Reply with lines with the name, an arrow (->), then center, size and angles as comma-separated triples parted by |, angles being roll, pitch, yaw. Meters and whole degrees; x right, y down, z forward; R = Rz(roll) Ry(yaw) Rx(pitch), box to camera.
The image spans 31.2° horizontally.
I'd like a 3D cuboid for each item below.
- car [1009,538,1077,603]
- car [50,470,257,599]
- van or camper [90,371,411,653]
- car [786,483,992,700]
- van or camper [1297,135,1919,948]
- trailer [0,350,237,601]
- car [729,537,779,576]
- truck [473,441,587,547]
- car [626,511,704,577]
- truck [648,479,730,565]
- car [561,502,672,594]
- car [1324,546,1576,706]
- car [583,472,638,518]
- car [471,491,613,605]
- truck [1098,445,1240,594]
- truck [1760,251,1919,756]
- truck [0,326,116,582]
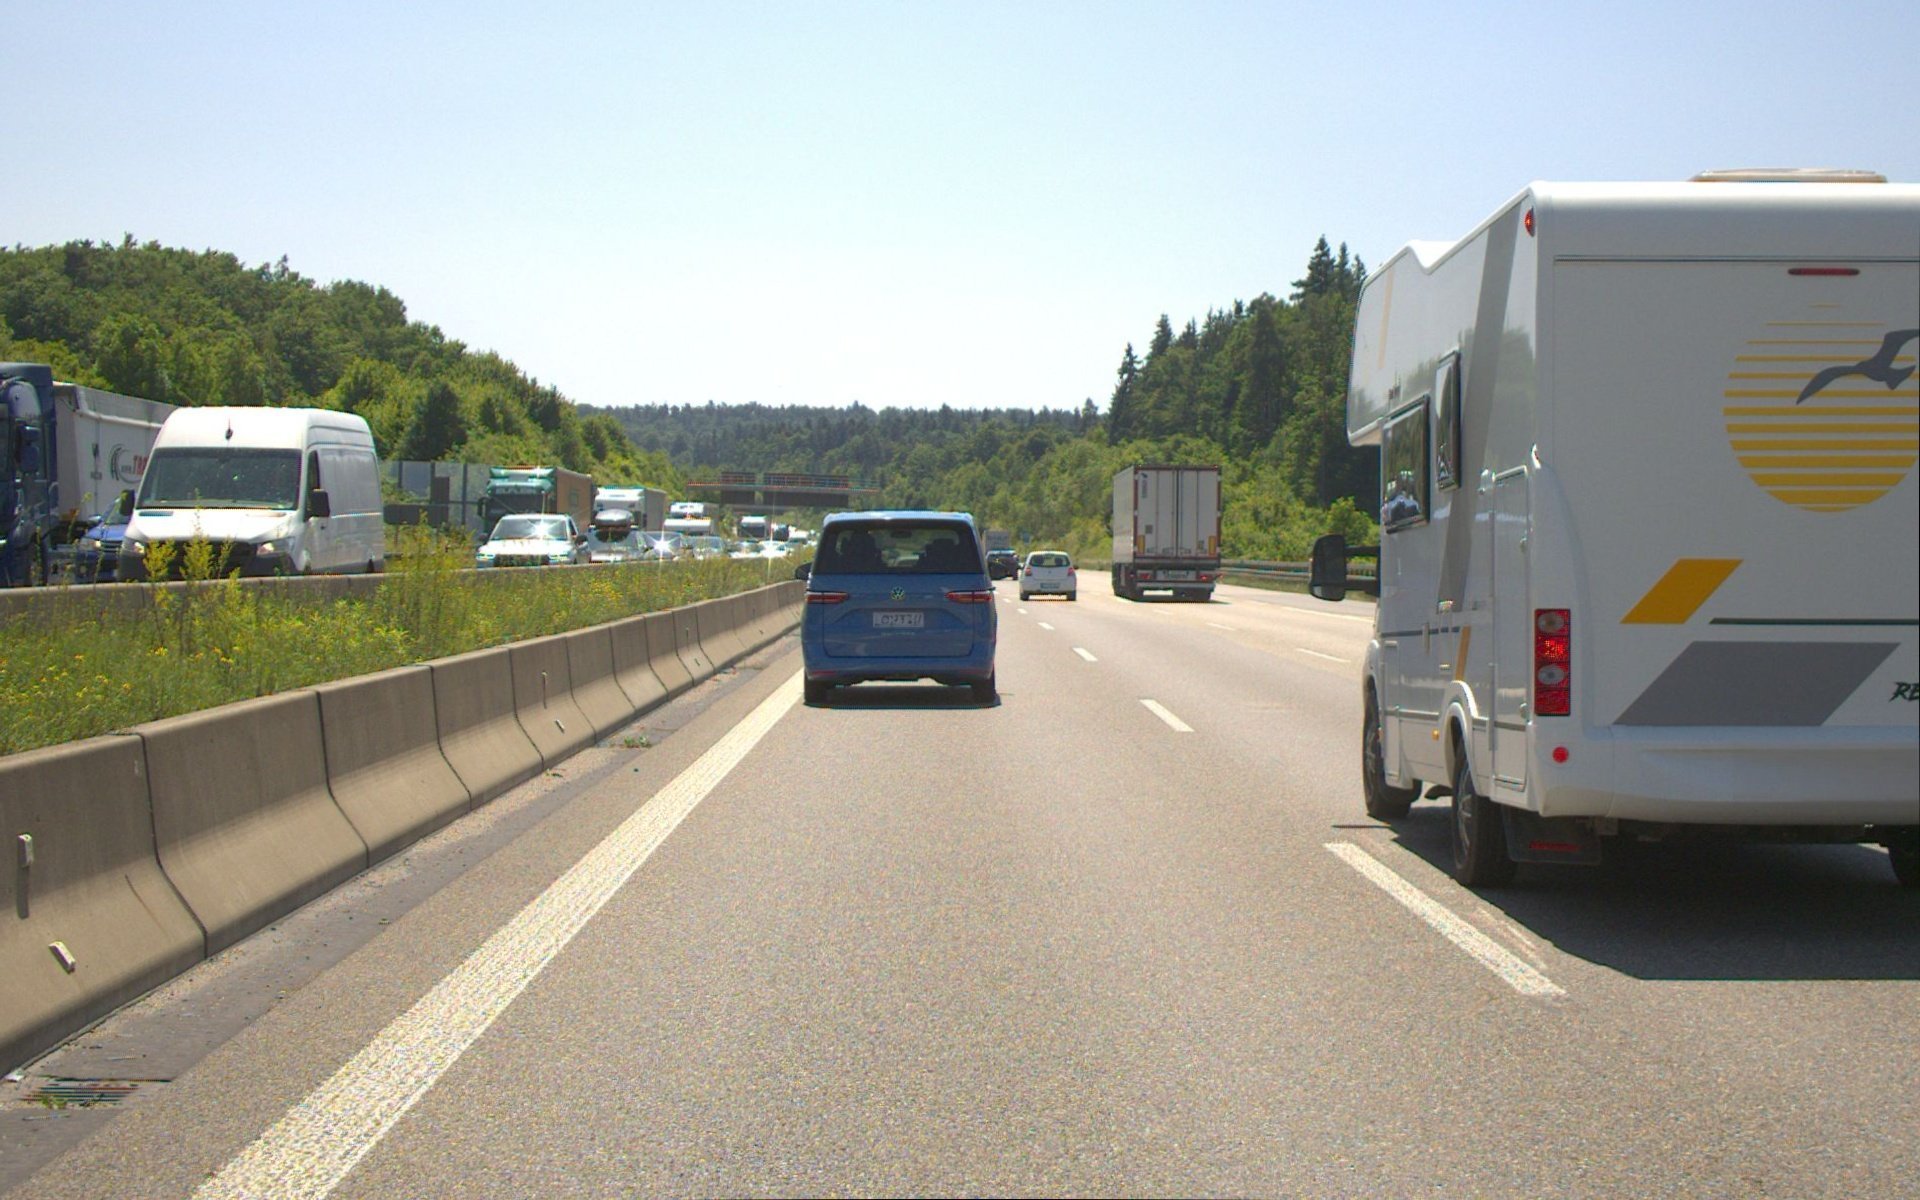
car -> 2.481, -0.907, 103.644 | 1.818, 1.788, 3.894 | 4, 1, -1
car -> -12.067, -0.975, 51.803 | 1.796, 1.827, 5.746 | 0, 1, 0
van or camper -> -8.135, -0.990, 40.276 | 1.993, 2.867, 7.642 | 4, 1, 0
car -> -0.682, -0.110, 34.603 | 1.909, 2.007, 4.000 | 1, 1, 0
van or camper -> 3.321, -0.275, 16.590 | 2.603, 3.068, 7.182 | 0, 1, -1
trailer -> -16.046, -2.208, 62.029 | 3.578, 4.079, 11.539 | 1, 1, 0
car -> -8.754, -1.850, 146.467 | 1.788, 1.541, 4.000 | 4, 1, 0
truck -> -16.738, -4.062, 134.623 | 2.991, 3.790, 12.164 | 4, 1, -1
car -> -8.521, -1.625, 99.602 | 1.788, 1.747, 4.000 | 4, 1, 0
truck -> -12.921, -3.697, 165.064 | 2.991, 3.790, 12.164 | 4, 1, -1
car -> -8.106, -1.232, 81.601 | 1.993, 2.007, 5.164 | 4, 1, 0
car -> 4.853, 0.214, 34.553 | 1.909, 1.470, 4.000 | 1, 1, 0
car -> -17.232, -5.177, 169.847 | 2.086, 2.056, 5.059 | 4, 1, 0
car -> -8.060, -1.006, 66.740 | 1.993, 2.007, 5.164 | 4, 1, 0
truck -> 6.302, -2.422, 105.245 | 3.487, 4.156, 8.642 | 4, 1, 0
truck -> 8.225, -0.677, 24.728 | 2.928, 3.563, 8.526 | 0, 1, 0
truck -> -15.983, -2.310, 54.911 | 3.455, 3.863, 5.445 | 3, 0, 1
